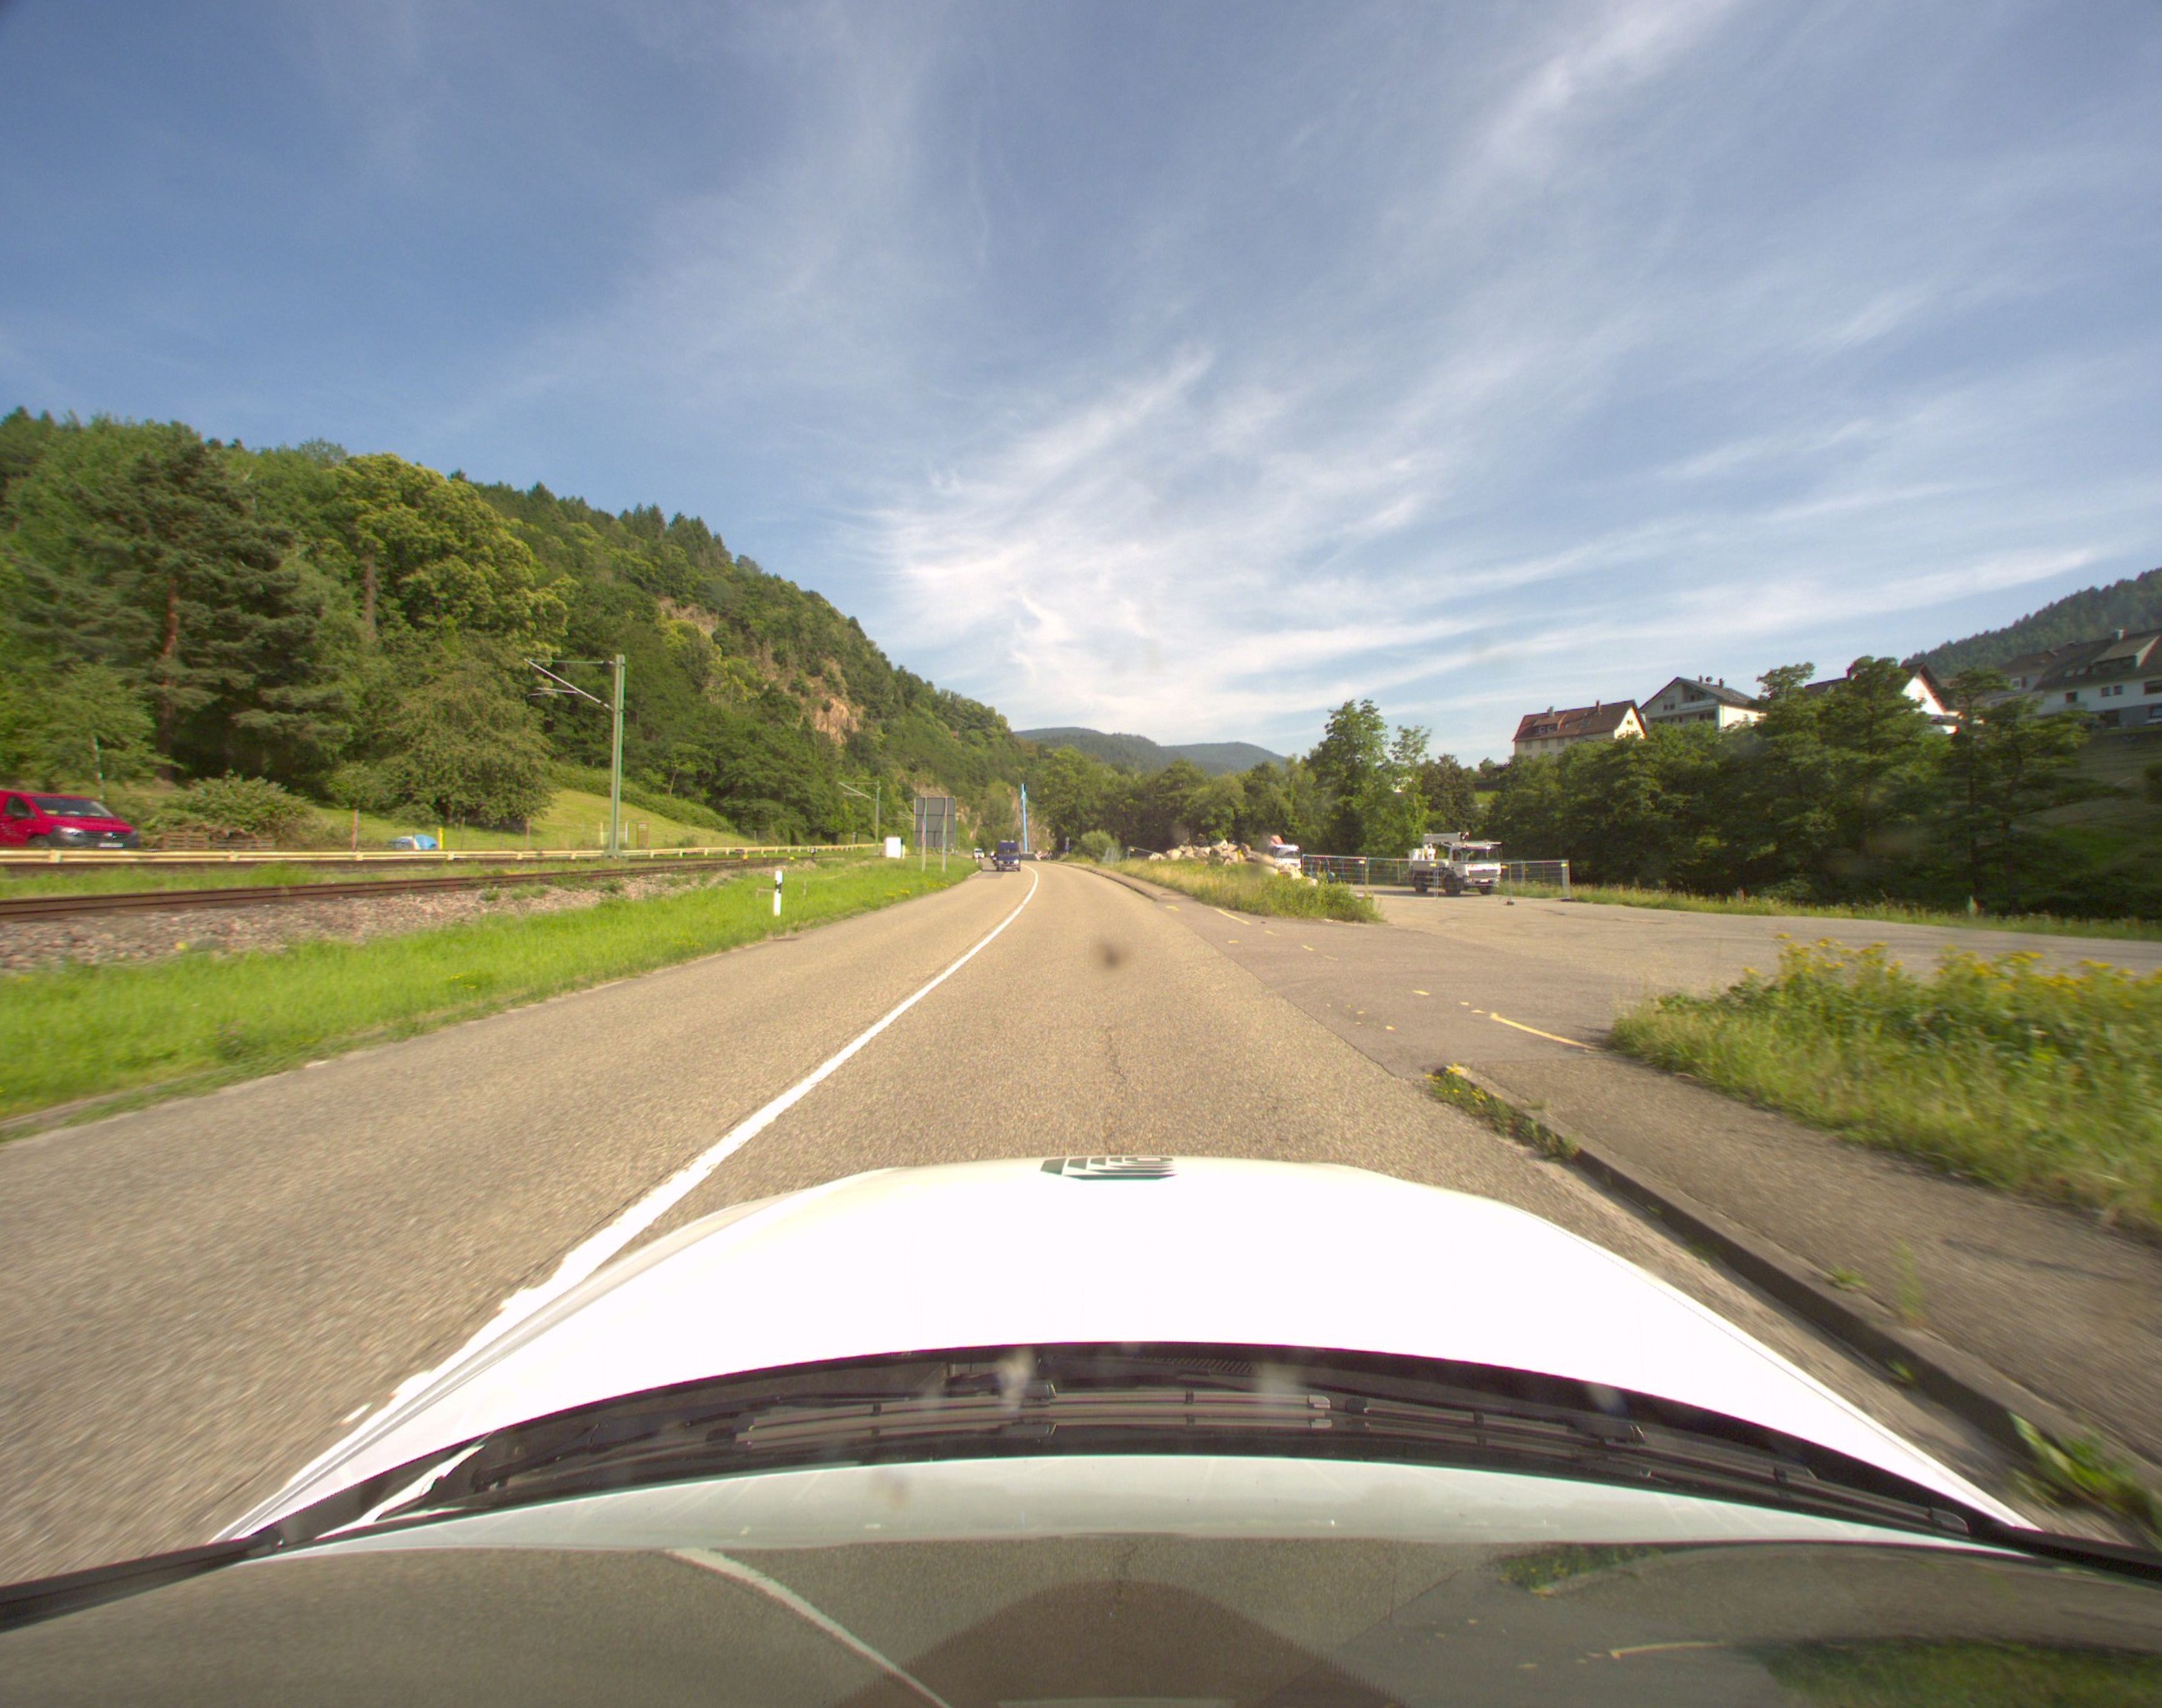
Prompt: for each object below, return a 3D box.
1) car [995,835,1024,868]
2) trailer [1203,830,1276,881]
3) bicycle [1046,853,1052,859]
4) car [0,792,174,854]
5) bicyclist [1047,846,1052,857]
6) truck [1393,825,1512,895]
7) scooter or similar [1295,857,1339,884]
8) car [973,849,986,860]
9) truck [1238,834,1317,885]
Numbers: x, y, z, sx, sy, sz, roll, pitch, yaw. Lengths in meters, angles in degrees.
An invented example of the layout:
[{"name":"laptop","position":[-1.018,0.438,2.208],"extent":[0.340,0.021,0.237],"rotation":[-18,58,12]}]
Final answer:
[{"name":"car","position":[-5.927,-0.199,68.231],"extent":[2.122,2.615,5.473],"rotation":[-1,0,-3]},{"name":"trailer","position":[14.378,0.207,74.927],"extent":[3.364,4.274,9.878],"rotation":[2,-1,-9]},{"name":"bicycle","position":[-4.586,0.286,117.447],"extent":[0.648,0.942,1.842],"rotation":[3,0,-9]},{"name":"car","position":[-30.784,-0.894,24.310],"extent":[4.939,1.691,2.460],"rotation":[1,-1,6]},{"name":"bicyclist","position":[-4.543,-0.370,117.398],"extent":[0.641,1.654,0.806],"rotation":[3,0,-9]},{"name":"truck","position":[21.922,0.336,48.798],"extent":[3.093,3.782,8.642],"rotation":[2,0,0]},{"name":"scooter or similar","position":[18.751,1.267,64.946],"extent":[1.991,2.013,3.991],"rotation":[0,0,-6]},{"name":"car","position":[-17.709,0.030,141.696],"extent":[1.871,1.781,4.582],"rotation":[1,1,-11]},{"name":"truck","position":[15.691,0.399,65.791],"extent":[3.102,3.782,8.617],"rotation":[2,0,-9]}]
